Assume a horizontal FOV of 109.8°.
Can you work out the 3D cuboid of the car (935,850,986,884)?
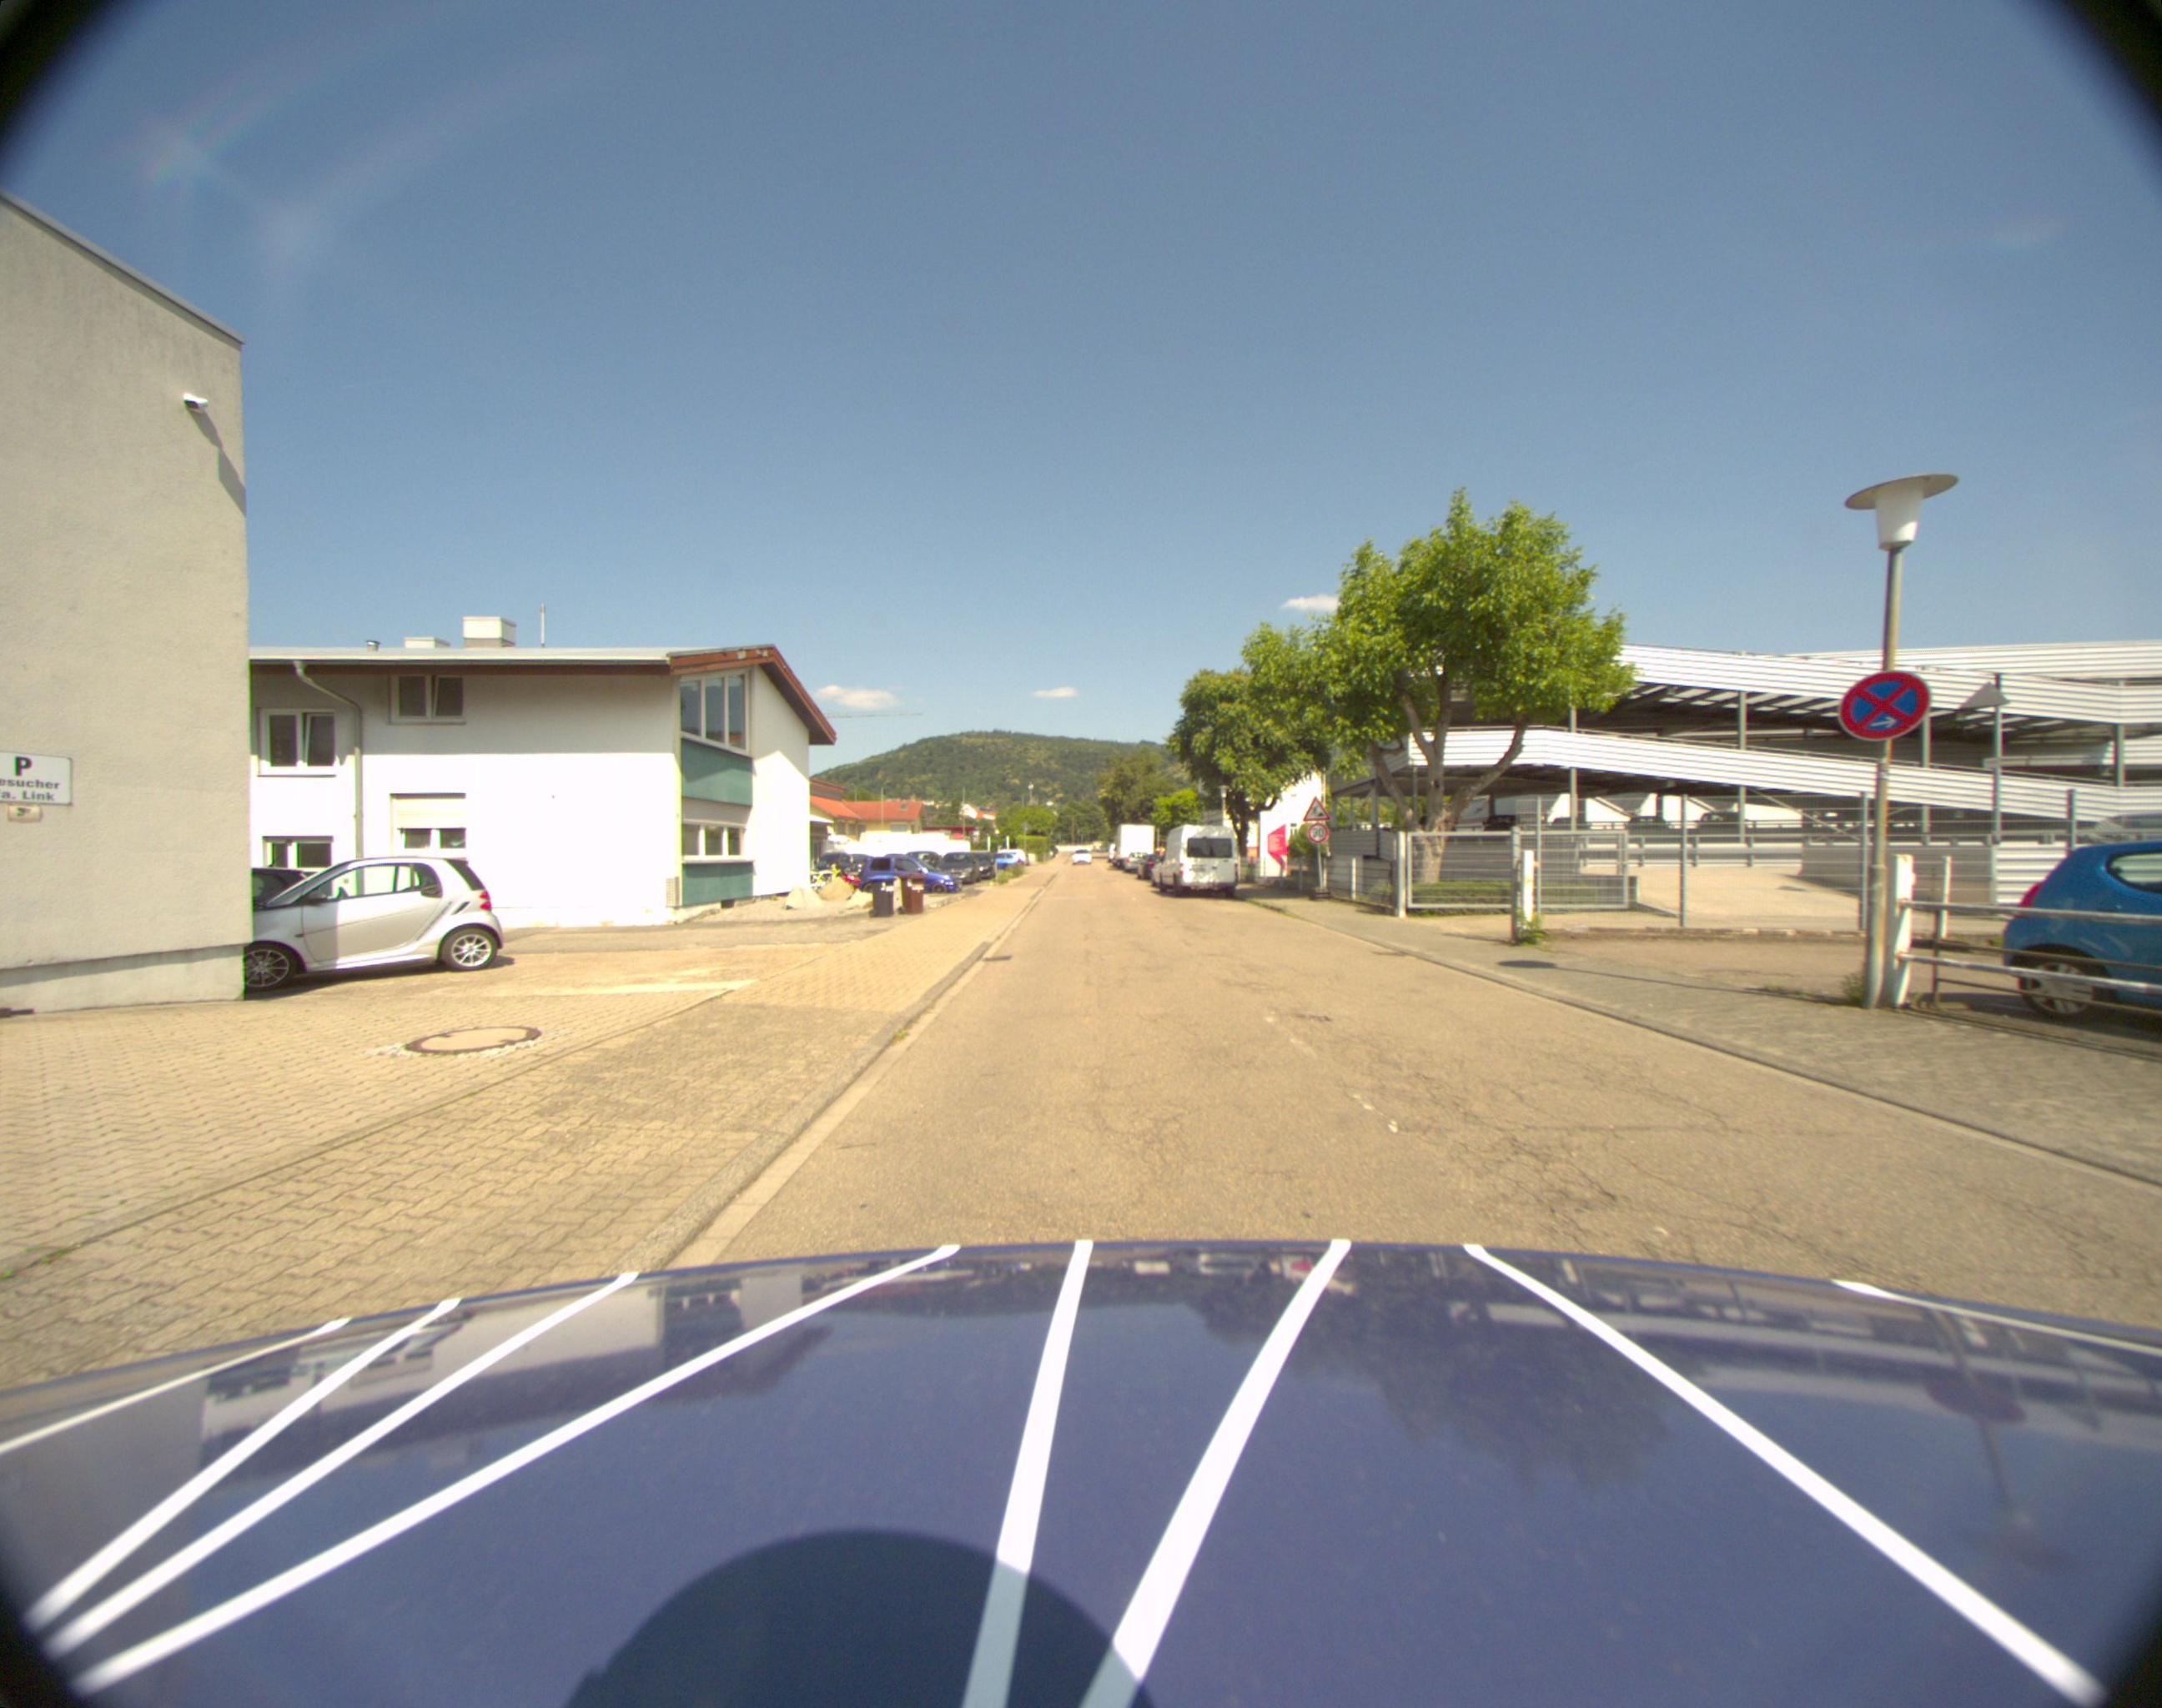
[{"bbox_3d":[-5.759,0.582,36.883,1.816,1.549,4.291,0,1,-1],"label":"car"}]

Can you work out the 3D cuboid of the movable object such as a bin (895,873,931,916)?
[{"bbox_3d":[-3.875,0.933,17.556,0.567,0.941,0.558,1,1,34],"label":"movable object such as a bin"}]

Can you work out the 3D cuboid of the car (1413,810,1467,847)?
[{"bbox_3d":[17.549,-1.288,37.013,1.812,1.662,4.006,1,4,34],"label":"car"}]

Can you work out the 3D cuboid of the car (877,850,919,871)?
[{"bbox_3d":[-13.620,0.434,56.817,1.890,1.433,4.187,1,1,3],"label":"car"}]

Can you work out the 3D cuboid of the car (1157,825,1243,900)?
[{"bbox_3d":[4.044,0.242,26.727,2.010,2.353,5.227,1,1,-2],"label":"car"}]

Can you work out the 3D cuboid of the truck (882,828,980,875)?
[{"bbox_3d":[-12.618,-0.243,64.410,7.537,3.404,2.526,-4,2,0],"label":"truck"}]

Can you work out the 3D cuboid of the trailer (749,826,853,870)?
[{"bbox_3d":[-25.570,-0.575,69.528,8.351,3.841,3.068,-1,2,5],"label":"trailer"}]

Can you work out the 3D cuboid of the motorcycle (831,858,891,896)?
[{"bbox_3d":[-7.635,0.792,26.452,1.874,1.272,0.796,1,1,-3],"label":"motorcycle"}]

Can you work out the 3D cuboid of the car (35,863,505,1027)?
[{"bbox_3d":[-9.651,0.919,9.417,1.774,1.531,3.710,1,1,42],"label":"car"}]

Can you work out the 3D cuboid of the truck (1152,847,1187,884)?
[{"bbox_3d":[4.116,0.486,35.642,1.141,1.613,3.140,1,1,-2],"label":"truck"}]

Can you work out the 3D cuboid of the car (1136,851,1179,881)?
[{"bbox_3d":[4.003,0.588,40.294,1.709,1.454,4.112,1,1,-2],"label":"car"}]

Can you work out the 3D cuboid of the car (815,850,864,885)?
[{"bbox_3d":[-11.634,0.613,36.762,1.766,1.487,4.144,1,1,-11],"label":"car"}]

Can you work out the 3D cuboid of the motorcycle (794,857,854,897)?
[{"bbox_3d":[-8.512,0.751,25.217,1.758,1.272,0.794,0,1,-30],"label":"motorcycle"}]

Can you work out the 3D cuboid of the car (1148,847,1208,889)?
[{"bbox_3d":[4.028,0.533,32.033,1.709,1.615,3.971,1,1,-5],"label":"car"}]

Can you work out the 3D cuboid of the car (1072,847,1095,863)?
[{"bbox_3d":[0.185,0.089,76.057,1.896,1.412,4.167,1,2,-5],"label":"car"}]

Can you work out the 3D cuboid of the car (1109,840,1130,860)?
[{"bbox_3d":[4.101,-0.506,81.120,1.976,2.002,5.054,1,2,0],"label":"car"}]

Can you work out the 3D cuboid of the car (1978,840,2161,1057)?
[{"bbox_3d":[8.524,0.679,4.580,1.819,1.521,3.674,0,1,-1],"label":"car"}]

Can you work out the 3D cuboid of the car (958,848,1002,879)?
[{"bbox_3d":[-5.551,0.488,42.310,1.863,1.559,4.950,0,1,-1],"label":"car"}]

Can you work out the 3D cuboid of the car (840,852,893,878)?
[{"bbox_3d":[-11.961,0.571,42.643,1.645,1.317,4.101,-1,1,3],"label":"car"}]

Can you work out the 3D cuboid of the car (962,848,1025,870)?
[{"bbox_3d":[-6.346,0.376,55.684,4.364,1.433,1.892,-2,1,-1],"label":"car"}]

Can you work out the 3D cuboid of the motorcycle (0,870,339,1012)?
[{"bbox_3d":[-12.178,1.014,9.792,1.774,1.483,3.616,1,1,42],"label":"motorcycle"}]

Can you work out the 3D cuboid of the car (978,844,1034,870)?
[{"bbox_3d":[-6.014,0.246,61.523,4.212,1.673,1.766,-5,2,0],"label":"car"}]

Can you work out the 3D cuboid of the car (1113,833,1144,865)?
[{"bbox_3d":[4.016,-0.540,65.525,2.174,2.581,6.918,1,2,0],"label":"car"}]

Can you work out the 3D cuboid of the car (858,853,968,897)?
[{"bbox_3d":[-5.534,0.695,25.248,3.261,1.390,1.673,0,0,1],"label":"car"}]

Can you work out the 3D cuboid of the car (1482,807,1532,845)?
[{"bbox_3d":[20.569,-1.371,36.614,1.812,1.662,4.006,1,4,34],"label":"car"}]

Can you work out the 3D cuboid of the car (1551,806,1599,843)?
[{"bbox_3d":[23.649,-1.454,36.371,1.812,1.662,4.006,1,4,34],"label":"car"}]

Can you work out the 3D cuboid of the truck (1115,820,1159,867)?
[{"bbox_3d":[4.173,-0.825,57.810,2.692,3.347,7.127,0,2,-1],"label":"truck"}]

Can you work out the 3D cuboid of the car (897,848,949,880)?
[{"bbox_3d":[-8.194,0.504,39.709,1.763,1.586,3.619,0,1,3],"label":"car"}]

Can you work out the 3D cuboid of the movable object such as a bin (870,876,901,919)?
[{"bbox_3d":[-4.390,0.971,17.053,0.514,0.941,0.488,0,1,12],"label":"movable object such as a bin"}]

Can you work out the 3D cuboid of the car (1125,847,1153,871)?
[{"bbox_3d":[3.894,0.316,51.399,1.745,1.512,4.310,1,1,3],"label":"car"}]
